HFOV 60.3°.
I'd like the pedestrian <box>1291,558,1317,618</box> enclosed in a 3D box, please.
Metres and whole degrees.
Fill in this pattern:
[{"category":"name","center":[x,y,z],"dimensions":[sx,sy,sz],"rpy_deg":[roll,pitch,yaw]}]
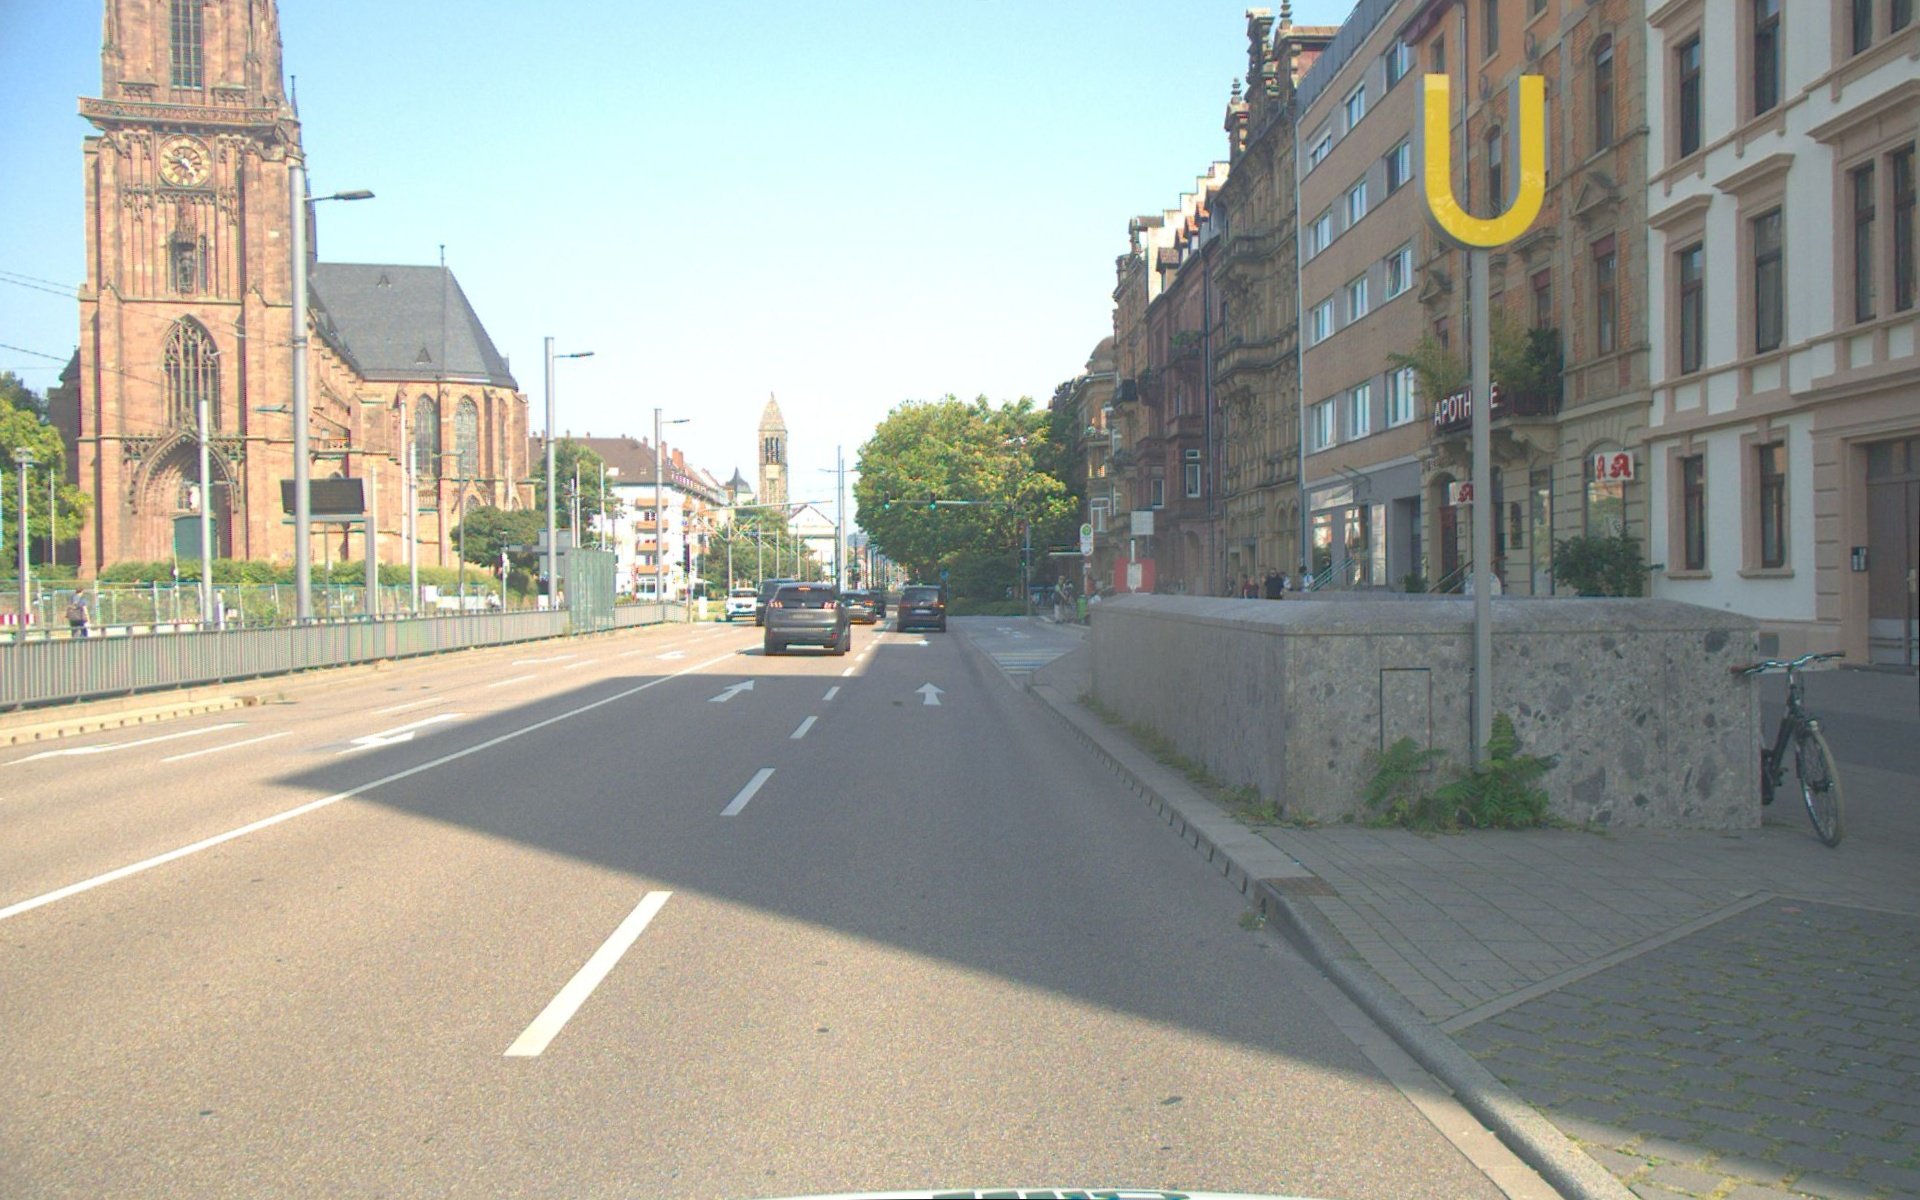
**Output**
[{"category":"pedestrian","center":[10.810,-0.381,51.994],"dimensions":[0.591,1.863,0.742],"rpy_deg":[-1,0,-5]}]

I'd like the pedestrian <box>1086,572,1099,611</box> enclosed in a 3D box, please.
[{"category":"pedestrian","center":[5.960,-0.381,74.363],"dimensions":[0.472,1.731,0.702],"rpy_deg":[-1,0,-5]}]

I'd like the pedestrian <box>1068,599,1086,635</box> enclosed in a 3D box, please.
[{"category":"pedestrian","center":[4.287,0.630,60.483],"dimensions":[0.554,1.300,0.596],"rpy_deg":[-1,0,-5]}]

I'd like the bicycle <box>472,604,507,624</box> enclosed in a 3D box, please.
[{"category":"bicycle","center":[-24.852,0.739,87.415],"dimensions":[1.721,0.995,0.480],"rpy_deg":[-1,0,7]}]

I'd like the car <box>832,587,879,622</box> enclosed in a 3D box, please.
[{"category":"car","center":[-4.500,0.172,71.756],"dimensions":[1.826,1.449,4.356],"rpy_deg":[1,1,-1]}]

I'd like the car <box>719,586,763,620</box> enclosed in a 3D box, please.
[{"category":"car","center":[-11.016,0.130,83.413],"dimensions":[1.678,1.639,4.503],"rpy_deg":[-2,1,-2]}]

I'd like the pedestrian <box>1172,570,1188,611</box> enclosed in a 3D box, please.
[{"category":"pedestrian","center":[8.786,-0.380,66.053],"dimensions":[0.476,1.638,0.812],"rpy_deg":[-1,0,0]}]

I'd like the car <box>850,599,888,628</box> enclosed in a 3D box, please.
[{"category":"car","center":[-4.805,0.682,87.755],"dimensions":[1.826,1.449,4.356],"rpy_deg":[1,1,-1]}]

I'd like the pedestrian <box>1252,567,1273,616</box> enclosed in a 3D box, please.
[{"category":"pedestrian","center":[10.919,-0.313,59.625],"dimensions":[0.591,1.721,0.586],"rpy_deg":[-1,0,-5]}]

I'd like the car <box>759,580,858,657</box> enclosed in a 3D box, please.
[{"category":"car","center":[-3.449,0.378,38.361],"dimensions":[1.953,1.649,4.356],"rpy_deg":[1,1,-1]}]

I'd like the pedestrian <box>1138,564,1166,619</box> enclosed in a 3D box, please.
[{"category":"pedestrian","center":[6.296,-0.278,54.336],"dimensions":[0.735,1.759,0.800],"rpy_deg":[-1,0,-5]}]

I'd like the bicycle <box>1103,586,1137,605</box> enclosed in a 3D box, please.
[{"category":"bicycle","center":[9.169,-0.247,94.961],"dimensions":[1.891,1.066,0.499],"rpy_deg":[-1,0,-7]}]

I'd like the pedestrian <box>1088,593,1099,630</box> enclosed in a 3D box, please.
[{"category":"pedestrian","center":[4.654,0.394,57.463],"dimensions":[0.270,1.296,0.447],"rpy_deg":[-1,0,-8]}]

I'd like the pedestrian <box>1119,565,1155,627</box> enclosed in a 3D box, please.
[{"category":"pedestrian","center":[5.375,-0.131,50.268],"dimensions":[0.907,1.863,0.800],"rpy_deg":[-1,0,-5]}]

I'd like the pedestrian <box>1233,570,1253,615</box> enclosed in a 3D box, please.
[{"category":"pedestrian","center":[10.542,-0.278,61.619],"dimensions":[0.591,1.683,0.586],"rpy_deg":[-1,0,-5]}]

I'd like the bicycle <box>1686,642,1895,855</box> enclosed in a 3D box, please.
[{"category":"bicycle","center":[5.169,0.875,10.404],"dimensions":[0.375,1.154,1.790],"rpy_deg":[-1,1,-1]}]

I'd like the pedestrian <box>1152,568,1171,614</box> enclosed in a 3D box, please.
[{"category":"pedestrian","center":[8.028,-0.359,66.050],"dimensions":[0.604,1.835,1.071],"rpy_deg":[-1,0,0]}]

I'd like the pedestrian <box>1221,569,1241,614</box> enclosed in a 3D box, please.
[{"category":"pedestrian","center":[10.576,-0.321,64.621],"dimensions":[0.617,1.749,0.690],"rpy_deg":[-1,0,-2]}]

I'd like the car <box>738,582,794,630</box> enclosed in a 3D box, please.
[{"category":"car","center":[-8.361,0.246,71.661],"dimensions":[1.953,1.937,4.715],"rpy_deg":[-2,1,-2]}]

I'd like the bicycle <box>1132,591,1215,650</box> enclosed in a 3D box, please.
[{"category":"bicycle","center":[4.378,0.417,33.985],"dimensions":[1.599,1.168,0.601],"rpy_deg":[-1,0,0]}]

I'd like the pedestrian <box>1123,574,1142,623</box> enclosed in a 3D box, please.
[{"category":"pedestrian","center":[6.274,-0.064,60.247],"dimensions":[0.554,1.759,0.617],"rpy_deg":[-1,0,-5]}]

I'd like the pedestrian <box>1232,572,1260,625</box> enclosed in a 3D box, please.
[{"category":"pedestrian","center":[8.951,-0.051,51.806],"dimensions":[0.705,1.638,0.856],"rpy_deg":[-1,0,0]}]

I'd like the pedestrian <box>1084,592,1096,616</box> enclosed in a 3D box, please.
[{"category":"pedestrian","center":[4.584,0.128,58.476],"dimensions":[0.297,0.834,0.603],"rpy_deg":[-1,1,-9]}]

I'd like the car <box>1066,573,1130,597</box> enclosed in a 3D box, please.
[{"category":"car","center":[9.524,-1.023,114.279],"dimensions":[4.099,1.590,1.998],"rpy_deg":[-1,1,-6]}]

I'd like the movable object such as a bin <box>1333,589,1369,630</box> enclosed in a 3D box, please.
[{"category":"movable object such as a bin","center":[10.825,0.264,45.858],"dimensions":[0.725,1.099,0.666],"rpy_deg":[-1,1,-18]}]

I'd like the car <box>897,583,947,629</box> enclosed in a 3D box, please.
[{"category":"car","center":[-1.421,0.200,62.021],"dimensions":[1.794,1.649,4.356],"rpy_deg":[1,1,-1]}]

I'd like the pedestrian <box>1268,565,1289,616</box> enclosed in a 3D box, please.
[{"category":"pedestrian","center":[11.138,-0.330,57.878],"dimensions":[0.591,1.761,0.510],"rpy_deg":[-1,0,-5]}]

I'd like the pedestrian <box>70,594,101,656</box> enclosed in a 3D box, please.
[{"category":"pedestrian","center":[-24.796,0.691,46.882],"dimensions":[0.507,1.730,0.664],"rpy_deg":[-1,0,-2]}]

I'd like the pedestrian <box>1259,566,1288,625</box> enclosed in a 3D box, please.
[{"category":"pedestrian","center":[9.752,-0.147,51.443],"dimensions":[0.705,1.818,0.856],"rpy_deg":[-1,0,0]}]

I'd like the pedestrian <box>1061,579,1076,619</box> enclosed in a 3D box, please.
[{"category":"pedestrian","center":[4.456,-0.037,67.839],"dimensions":[0.517,1.640,0.702],"rpy_deg":[-1,0,-5]}]

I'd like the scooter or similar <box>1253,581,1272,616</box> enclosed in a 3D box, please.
[{"category":"scooter or similar","center":[10.340,-0.067,56.627],"dimensions":[0.353,1.183,1.151],"rpy_deg":[-1,1,-4]}]

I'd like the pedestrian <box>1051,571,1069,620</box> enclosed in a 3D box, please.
[{"category":"pedestrian","center":[3.647,-0.166,60.369],"dimensions":[0.554,1.759,0.745],"rpy_deg":[-1,0,-5]}]

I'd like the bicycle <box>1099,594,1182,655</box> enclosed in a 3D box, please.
[{"category":"bicycle","center":[3.631,0.483,33.235],"dimensions":[1.601,1.168,0.385],"rpy_deg":[-1,0,-6]}]

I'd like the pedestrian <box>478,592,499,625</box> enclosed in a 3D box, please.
[{"category":"pedestrian","center":[-24.919,0.430,87.412],"dimensions":[0.897,1.709,0.603],"rpy_deg":[-1,0,8]}]
